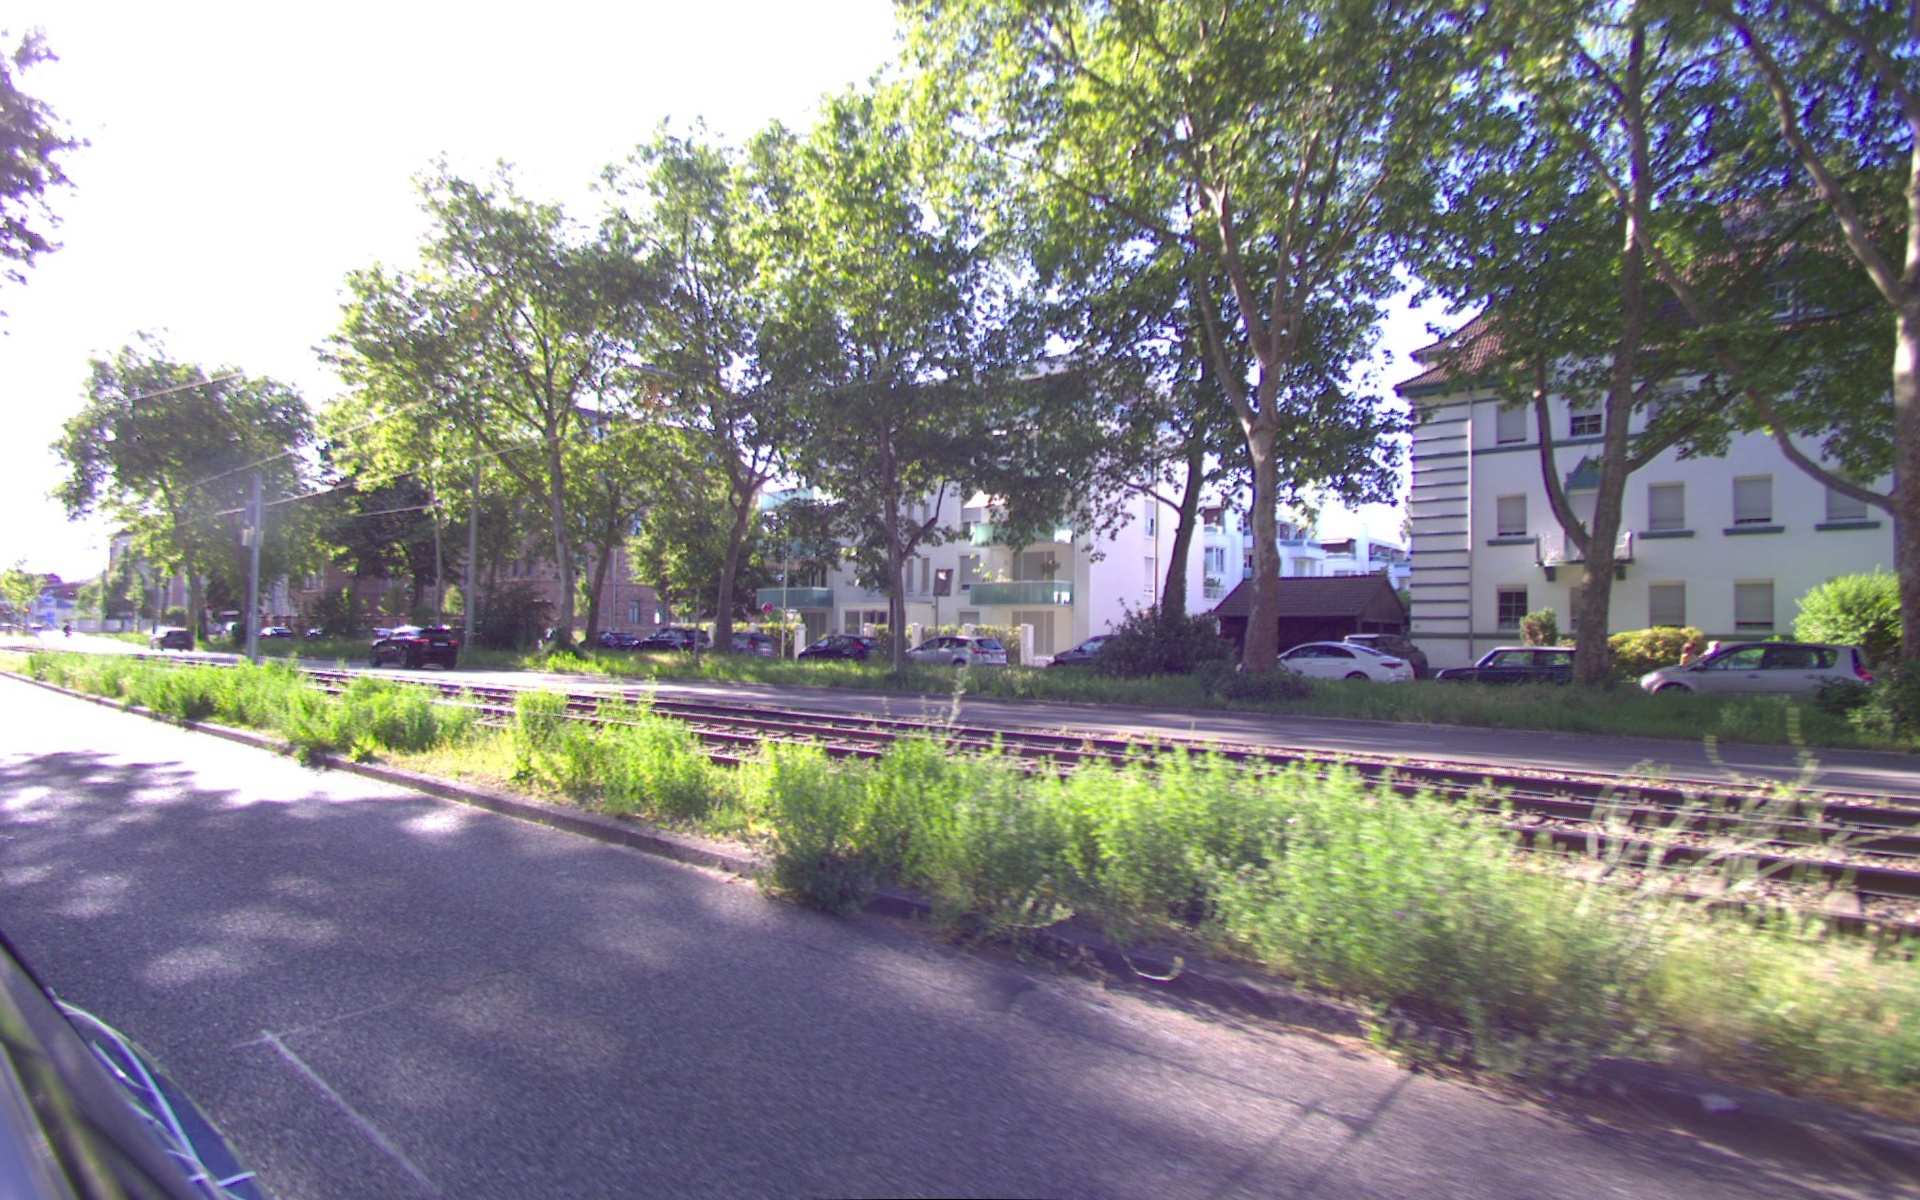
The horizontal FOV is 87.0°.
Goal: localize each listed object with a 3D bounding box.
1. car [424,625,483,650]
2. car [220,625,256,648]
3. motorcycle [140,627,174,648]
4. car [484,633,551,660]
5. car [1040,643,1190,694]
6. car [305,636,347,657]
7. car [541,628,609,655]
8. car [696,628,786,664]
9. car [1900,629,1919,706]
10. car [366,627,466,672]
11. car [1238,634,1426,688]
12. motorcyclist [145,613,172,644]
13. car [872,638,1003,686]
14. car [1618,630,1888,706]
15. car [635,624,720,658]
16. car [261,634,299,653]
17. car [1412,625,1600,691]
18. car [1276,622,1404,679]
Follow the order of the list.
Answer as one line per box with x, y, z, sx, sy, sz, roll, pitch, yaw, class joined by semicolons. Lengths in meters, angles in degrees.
-31.598;2.359;63.100;3.998;1.497;1.972;-2;-3;41;car
-64.593;3.274;90.489;1.970;2.029;4.002;2;-3;-45;car
-78.770;3.665;99.256;3.996;2.073;1.707;-1;-3;39;motorcycle
-25.202;2.641;57.620;3.998;1.497;1.972;-2;-3;41;car
4.813;2.102;31.777;4.317;1.464;1.972;-2;-3;41;car
-48.085;3.515;76.733;3.686;1.497;1.748;-2;-3;41;car
-22.047;2.351;57.860;3.998;1.497;1.972;-2;-3;41;car
-9.527;1.958;43.894;3.998;1.484;1.778;-1;-3;41;car
20.051;1.255;18.354;4.317;1.452;1.766;-1;-3;41;car
-21.419;1.947;39.797;4.456;1.660;1.839;-1;-5;39;car
9.903;1.606;27.172;4.459;1.334;1.623;-2;-5;41;car
-78.391;2.811;99.001;1.680;2.944;1.724;-2;-3;42;motorcyclist
-0.878;2.207;36.614;4.653;1.603;1.972;-2;-3;41;car
16.556;1.363;21.309;4.317;1.451;1.717;-2;-3;41;car
-13.243;1.908;47.328;3.998;1.497;1.972;-2;-3;41;car
-56.097;3.594;83.454;3.686;1.497;1.748;-2;-3;41;car
13.146;1.366;24.469;3.696;1.476;1.756;-2;-3;41;car
13.327;1.760;35.548;3.818;1.874;1.830;-2;-3;40;car
